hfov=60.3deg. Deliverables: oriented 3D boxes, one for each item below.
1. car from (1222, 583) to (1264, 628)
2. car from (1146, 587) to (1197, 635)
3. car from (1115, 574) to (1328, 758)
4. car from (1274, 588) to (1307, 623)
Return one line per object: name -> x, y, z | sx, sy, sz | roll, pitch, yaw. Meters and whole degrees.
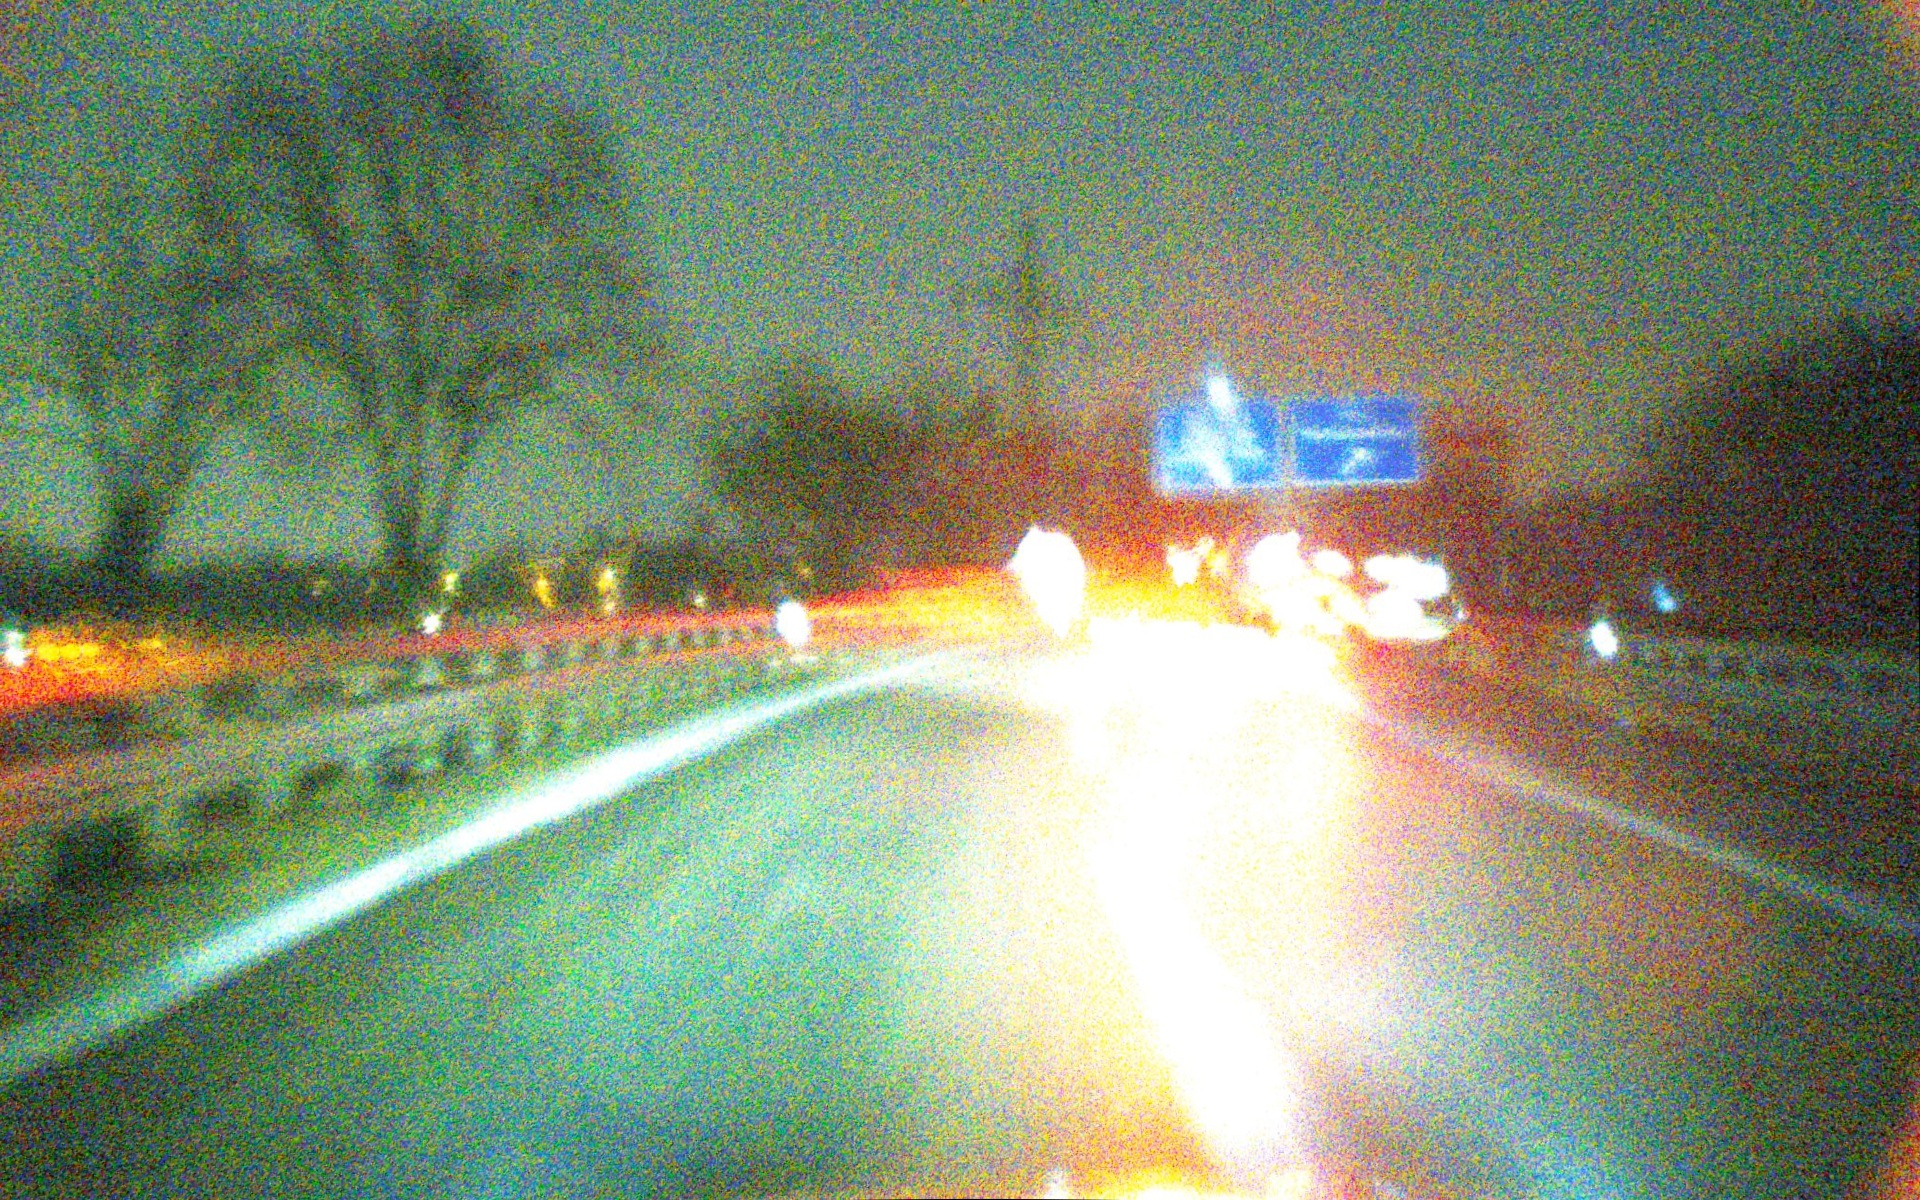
car -> 13.360, 0.281, 78.015 | 1.855, 2.076, 4.049 | 0, -1, 11
car -> 8.063, 0.432, 62.980 | 1.855, 1.751, 4.048 | 0, -1, 7
car -> 2.639, 0.607, 17.525 | 1.821, 1.676, 4.071 | 1, 0, 4
car -> 19.769, 0.311, 98.860 | 1.855, 2.033, 4.049 | 0, 0, 12
